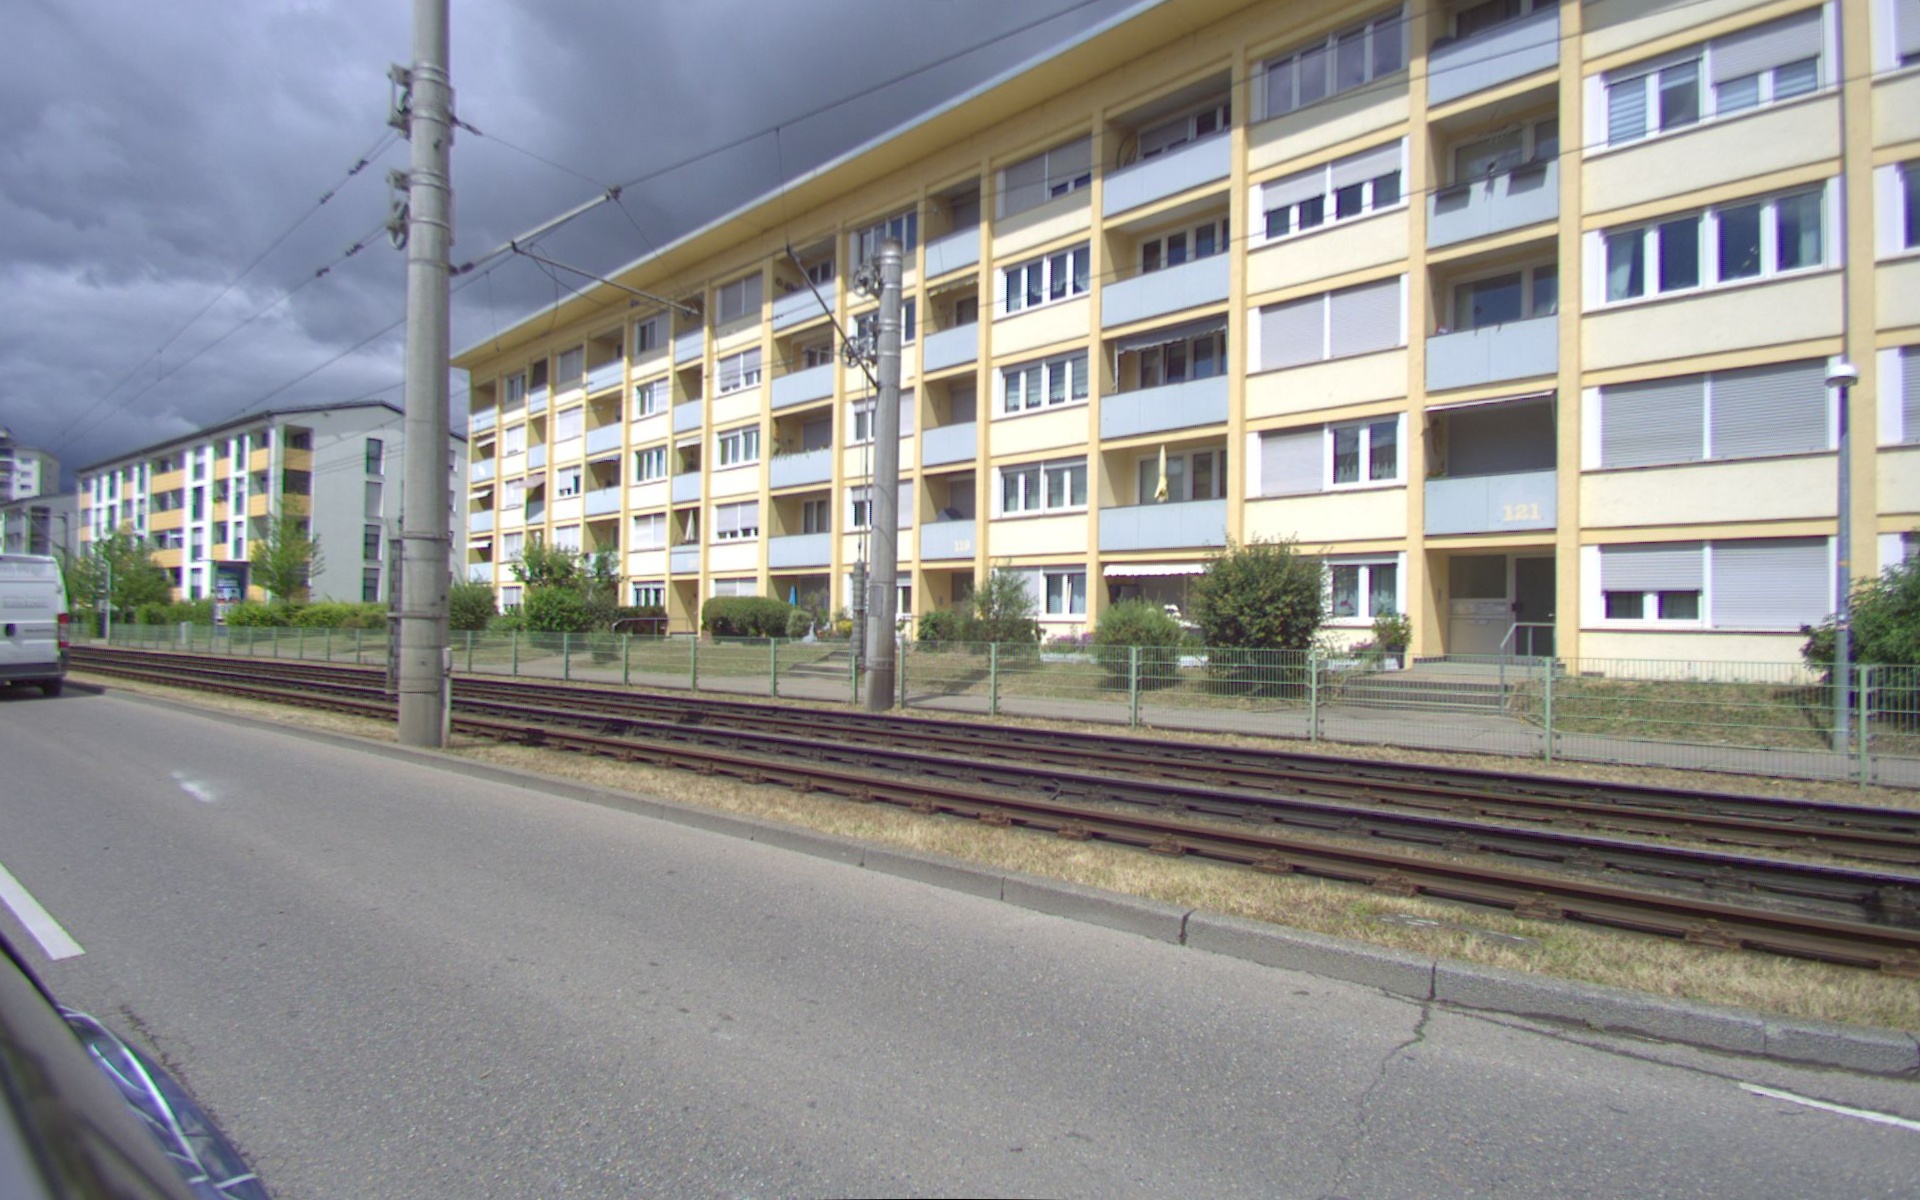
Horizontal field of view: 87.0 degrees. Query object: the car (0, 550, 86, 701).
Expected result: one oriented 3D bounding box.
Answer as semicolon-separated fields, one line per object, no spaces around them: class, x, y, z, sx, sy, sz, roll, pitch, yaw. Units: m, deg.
car;-17.900;0.437;18.342;5.081;2.493;2.209;-1;-2;39
